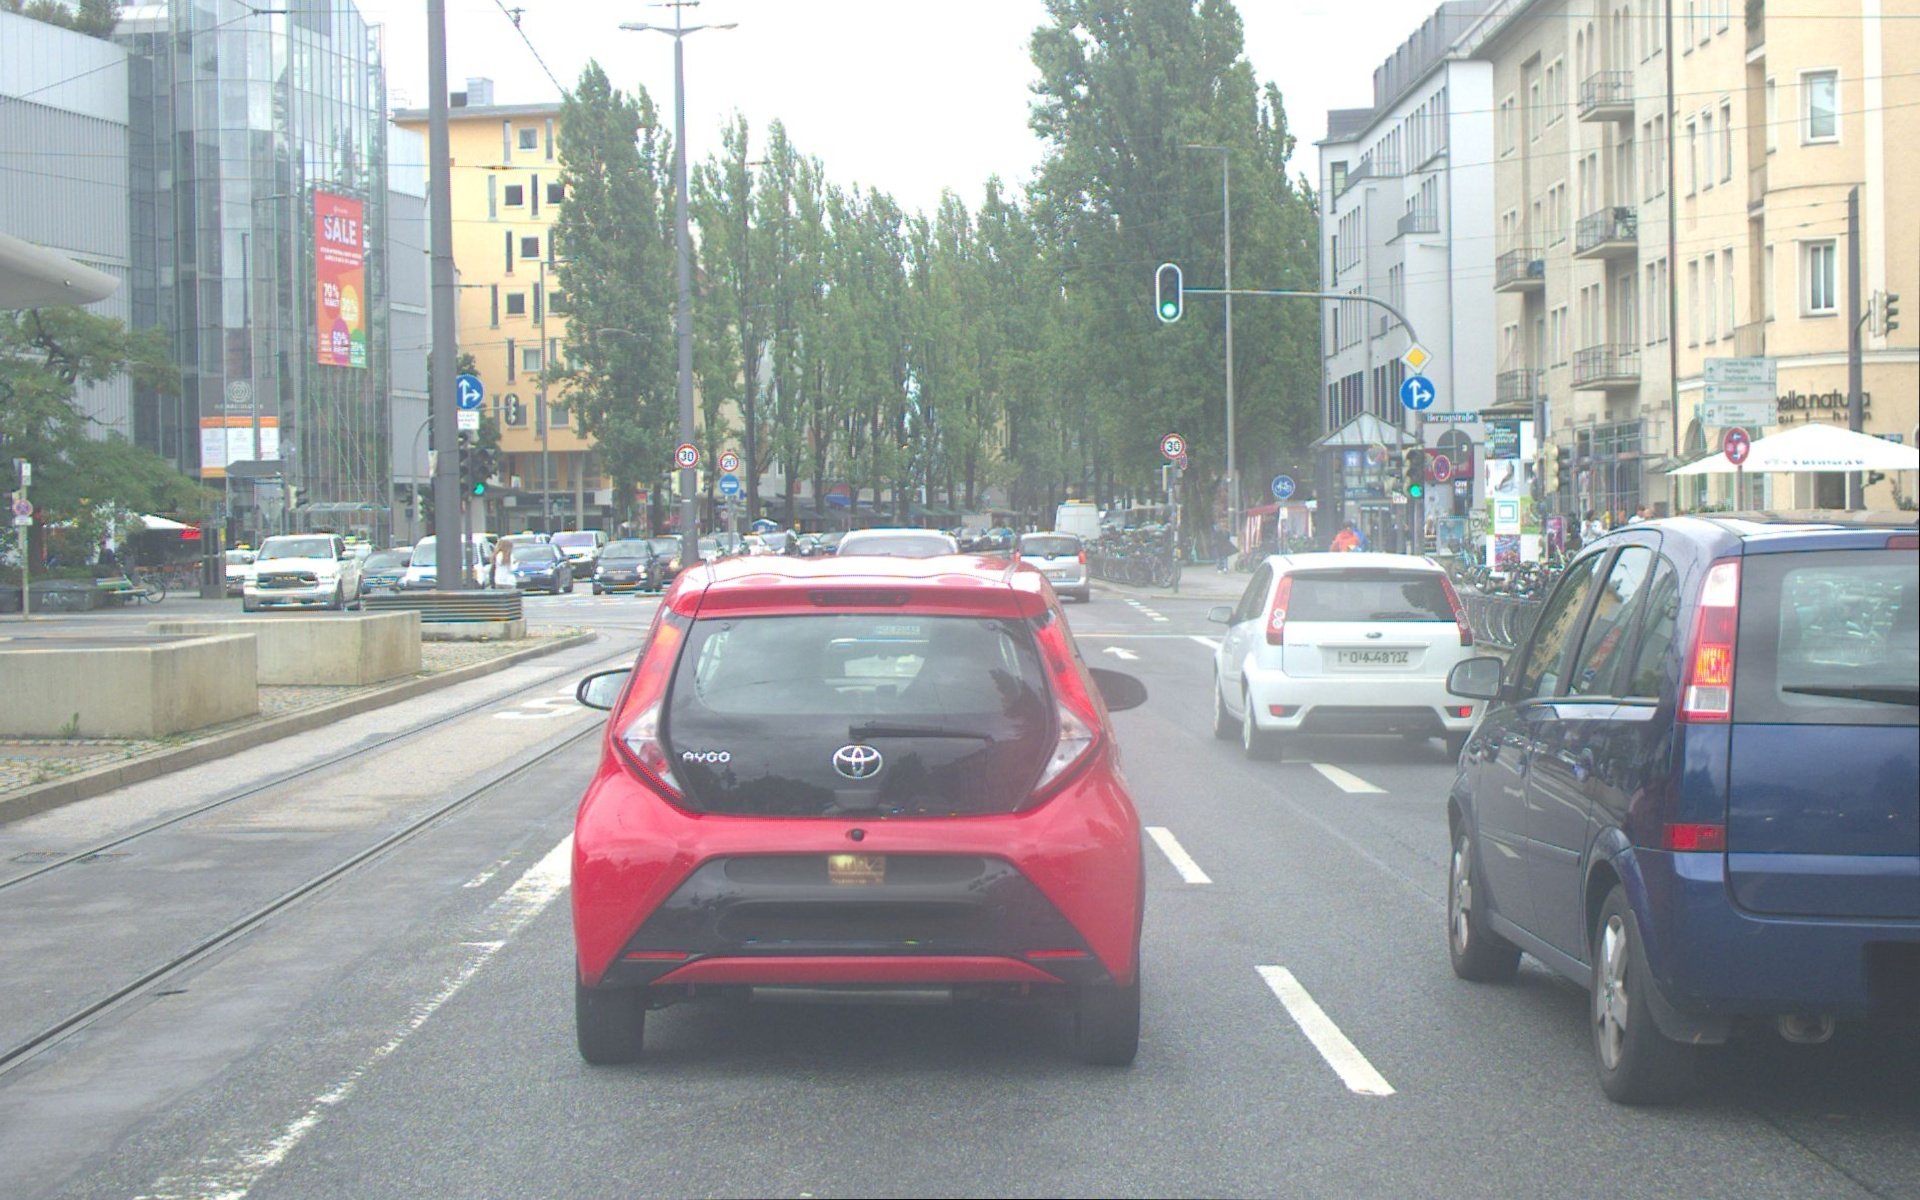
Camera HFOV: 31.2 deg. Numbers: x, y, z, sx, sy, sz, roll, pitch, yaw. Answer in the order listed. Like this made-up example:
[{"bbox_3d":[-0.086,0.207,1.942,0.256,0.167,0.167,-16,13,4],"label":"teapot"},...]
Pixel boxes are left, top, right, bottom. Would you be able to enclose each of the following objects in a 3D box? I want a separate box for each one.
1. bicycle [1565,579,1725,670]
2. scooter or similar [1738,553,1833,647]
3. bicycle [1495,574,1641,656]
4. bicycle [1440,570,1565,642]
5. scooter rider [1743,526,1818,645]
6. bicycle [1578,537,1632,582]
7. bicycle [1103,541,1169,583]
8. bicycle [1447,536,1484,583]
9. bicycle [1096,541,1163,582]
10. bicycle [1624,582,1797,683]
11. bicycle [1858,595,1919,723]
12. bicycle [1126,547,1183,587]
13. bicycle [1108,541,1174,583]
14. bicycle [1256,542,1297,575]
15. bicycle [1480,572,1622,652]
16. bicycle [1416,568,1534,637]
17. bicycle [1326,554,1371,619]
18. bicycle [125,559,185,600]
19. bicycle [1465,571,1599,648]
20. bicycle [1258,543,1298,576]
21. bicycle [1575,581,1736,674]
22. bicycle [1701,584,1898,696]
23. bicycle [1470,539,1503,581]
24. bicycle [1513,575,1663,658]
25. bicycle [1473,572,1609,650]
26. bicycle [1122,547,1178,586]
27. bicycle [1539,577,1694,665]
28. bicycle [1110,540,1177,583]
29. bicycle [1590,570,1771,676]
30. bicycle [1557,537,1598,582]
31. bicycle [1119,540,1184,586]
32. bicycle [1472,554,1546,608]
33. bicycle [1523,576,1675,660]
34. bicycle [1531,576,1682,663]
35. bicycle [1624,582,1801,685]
[{"bbox_3d":[7.658,0.278,38.505,1.841,0.992,0.347,-1,1,44],"label":"bicycle"},{"bbox_3d":[9.738,-0.005,40.585,0.775,1.071,1.256,-1,1,-2],"label":"scooter or similar"},{"bbox_3d":[7.539,0.189,42.686,1.840,0.992,0.347,-1,1,40],"label":"bicycle"},{"bbox_3d":[7.613,0.093,48.306,1.841,0.992,0.347,-1,1,44],"label":"bicycle"},{"bbox_3d":[9.692,-0.178,40.633,0.700,1.384,0.643,-1,1,-2],"label":"scooter rider"},{"bbox_3d":[15.429,-0.971,82.271,0.494,1.055,1.867,-1,1,-15],"label":"bicycle"},{"bbox_3d":[4.927,-1.063,96.241,1.802,1.154,0.486,0,1,30],"label":"bicycle"},{"bbox_3d":[12.047,-0.968,81.980,0.566,1.104,1.866,-1,1,0],"label":"bicycle"},{"bbox_3d":[4.810,-1.083,97.619,1.803,1.154,0.651,0,2,36],"label":"bicycle"},{"bbox_3d":[7.909,0.330,36.276,1.840,0.992,0.324,2,3,40],"label":"bicycle"},{"bbox_3d":[8.062,0.489,27.202,1.840,0.992,0.374,2,3,37],"label":"bicycle"},{"bbox_3d":[5.128,-0.865,90.526,0.498,1.025,1.601,-2,2,-42],"label":"bicycle"},{"bbox_3d":[4.962,-1.040,94.116,1.803,1.154,0.547,0,2,38],"label":"bicycle"},{"bbox_3d":[9.549,-1.252,103.818,1.181,0.960,0.369,-1,1,-2],"label":"bicycle"},{"bbox_3d":[7.560,0.161,44.024,1.840,0.992,0.347,-1,1,40],"label":"bicycle"},{"bbox_3d":[7.552,0.047,50.462,1.841,0.992,0.347,-1,1,44],"label":"bicycle"},{"bbox_3d":[7.937,-0.287,70.319,0.614,1.260,2.520,-1,1,0],"label":"bicycle"},{"bbox_3d":[-22.141,-0.561,94.561,1.574,1.108,0.373,0,1,4],"label":"bicycle"},{"bbox_3d":[7.543,0.133,45.376,1.840,0.992,0.347,-1,1,43],"label":"bicycle"},{"bbox_3d":[9.557,-1.222,103.275,1.181,0.960,0.369,-1,1,4],"label":"bicycle"},{"bbox_3d":[7.622,0.294,37.731,1.841,0.992,0.324,0,1,44],"label":"bicycle"},{"bbox_3d":[7.985,0.371,32.751,1.840,0.992,0.324,2,3,36],"label":"bicycle"},{"bbox_3d":[12.549,-0.956,81.961,0.494,0.971,1.866,-1,1,0],"label":"bicycle"},{"bbox_3d":[7.644,0.208,41.878,1.840,0.992,0.347,-1,1,40],"label":"bicycle"},{"bbox_3d":[7.549,0.147,44.711,1.840,0.992,0.347,-1,1,43],"label":"bicycle"},{"bbox_3d":[5.047,-0.886,91.381,0.498,1.025,1.601,-2,2,-42],"label":"bicycle"},{"bbox_3d":[7.601,0.249,39.859,1.841,0.992,0.347,-1,1,44],"label":"bicycle"},{"bbox_3d":[5.061,-1.054,94.925,1.801,1.154,0.486,0,1,26],"label":"bicycle"},{"bbox_3d":[7.756,0.242,37.028,1.839,1.109,0.466,0,2,32],"label":"bicycle"},{"bbox_3d":[14.729,-0.978,82.022,0.494,1.055,1.867,-1,1,-5],"label":"bicycle"},{"bbox_3d":[5.123,-0.988,92.040,1.803,1.194,0.558,0,2,43],"label":"bicycle"},{"bbox_3d":[12.357,-0.431,77.442,1.568,1.156,0.525,-2,3,3],"label":"bicycle"},{"bbox_3d":[7.652,0.222,41.223,1.840,0.992,0.347,-1,1,40],"label":"bicycle"},{"bbox_3d":[7.622,0.235,40.577,1.841,0.992,0.347,-1,1,44],"label":"bicycle"},{"bbox_3d":[7.800,0.340,35.700,1.840,0.992,0.324,2,3,40],"label":"bicycle"}]
